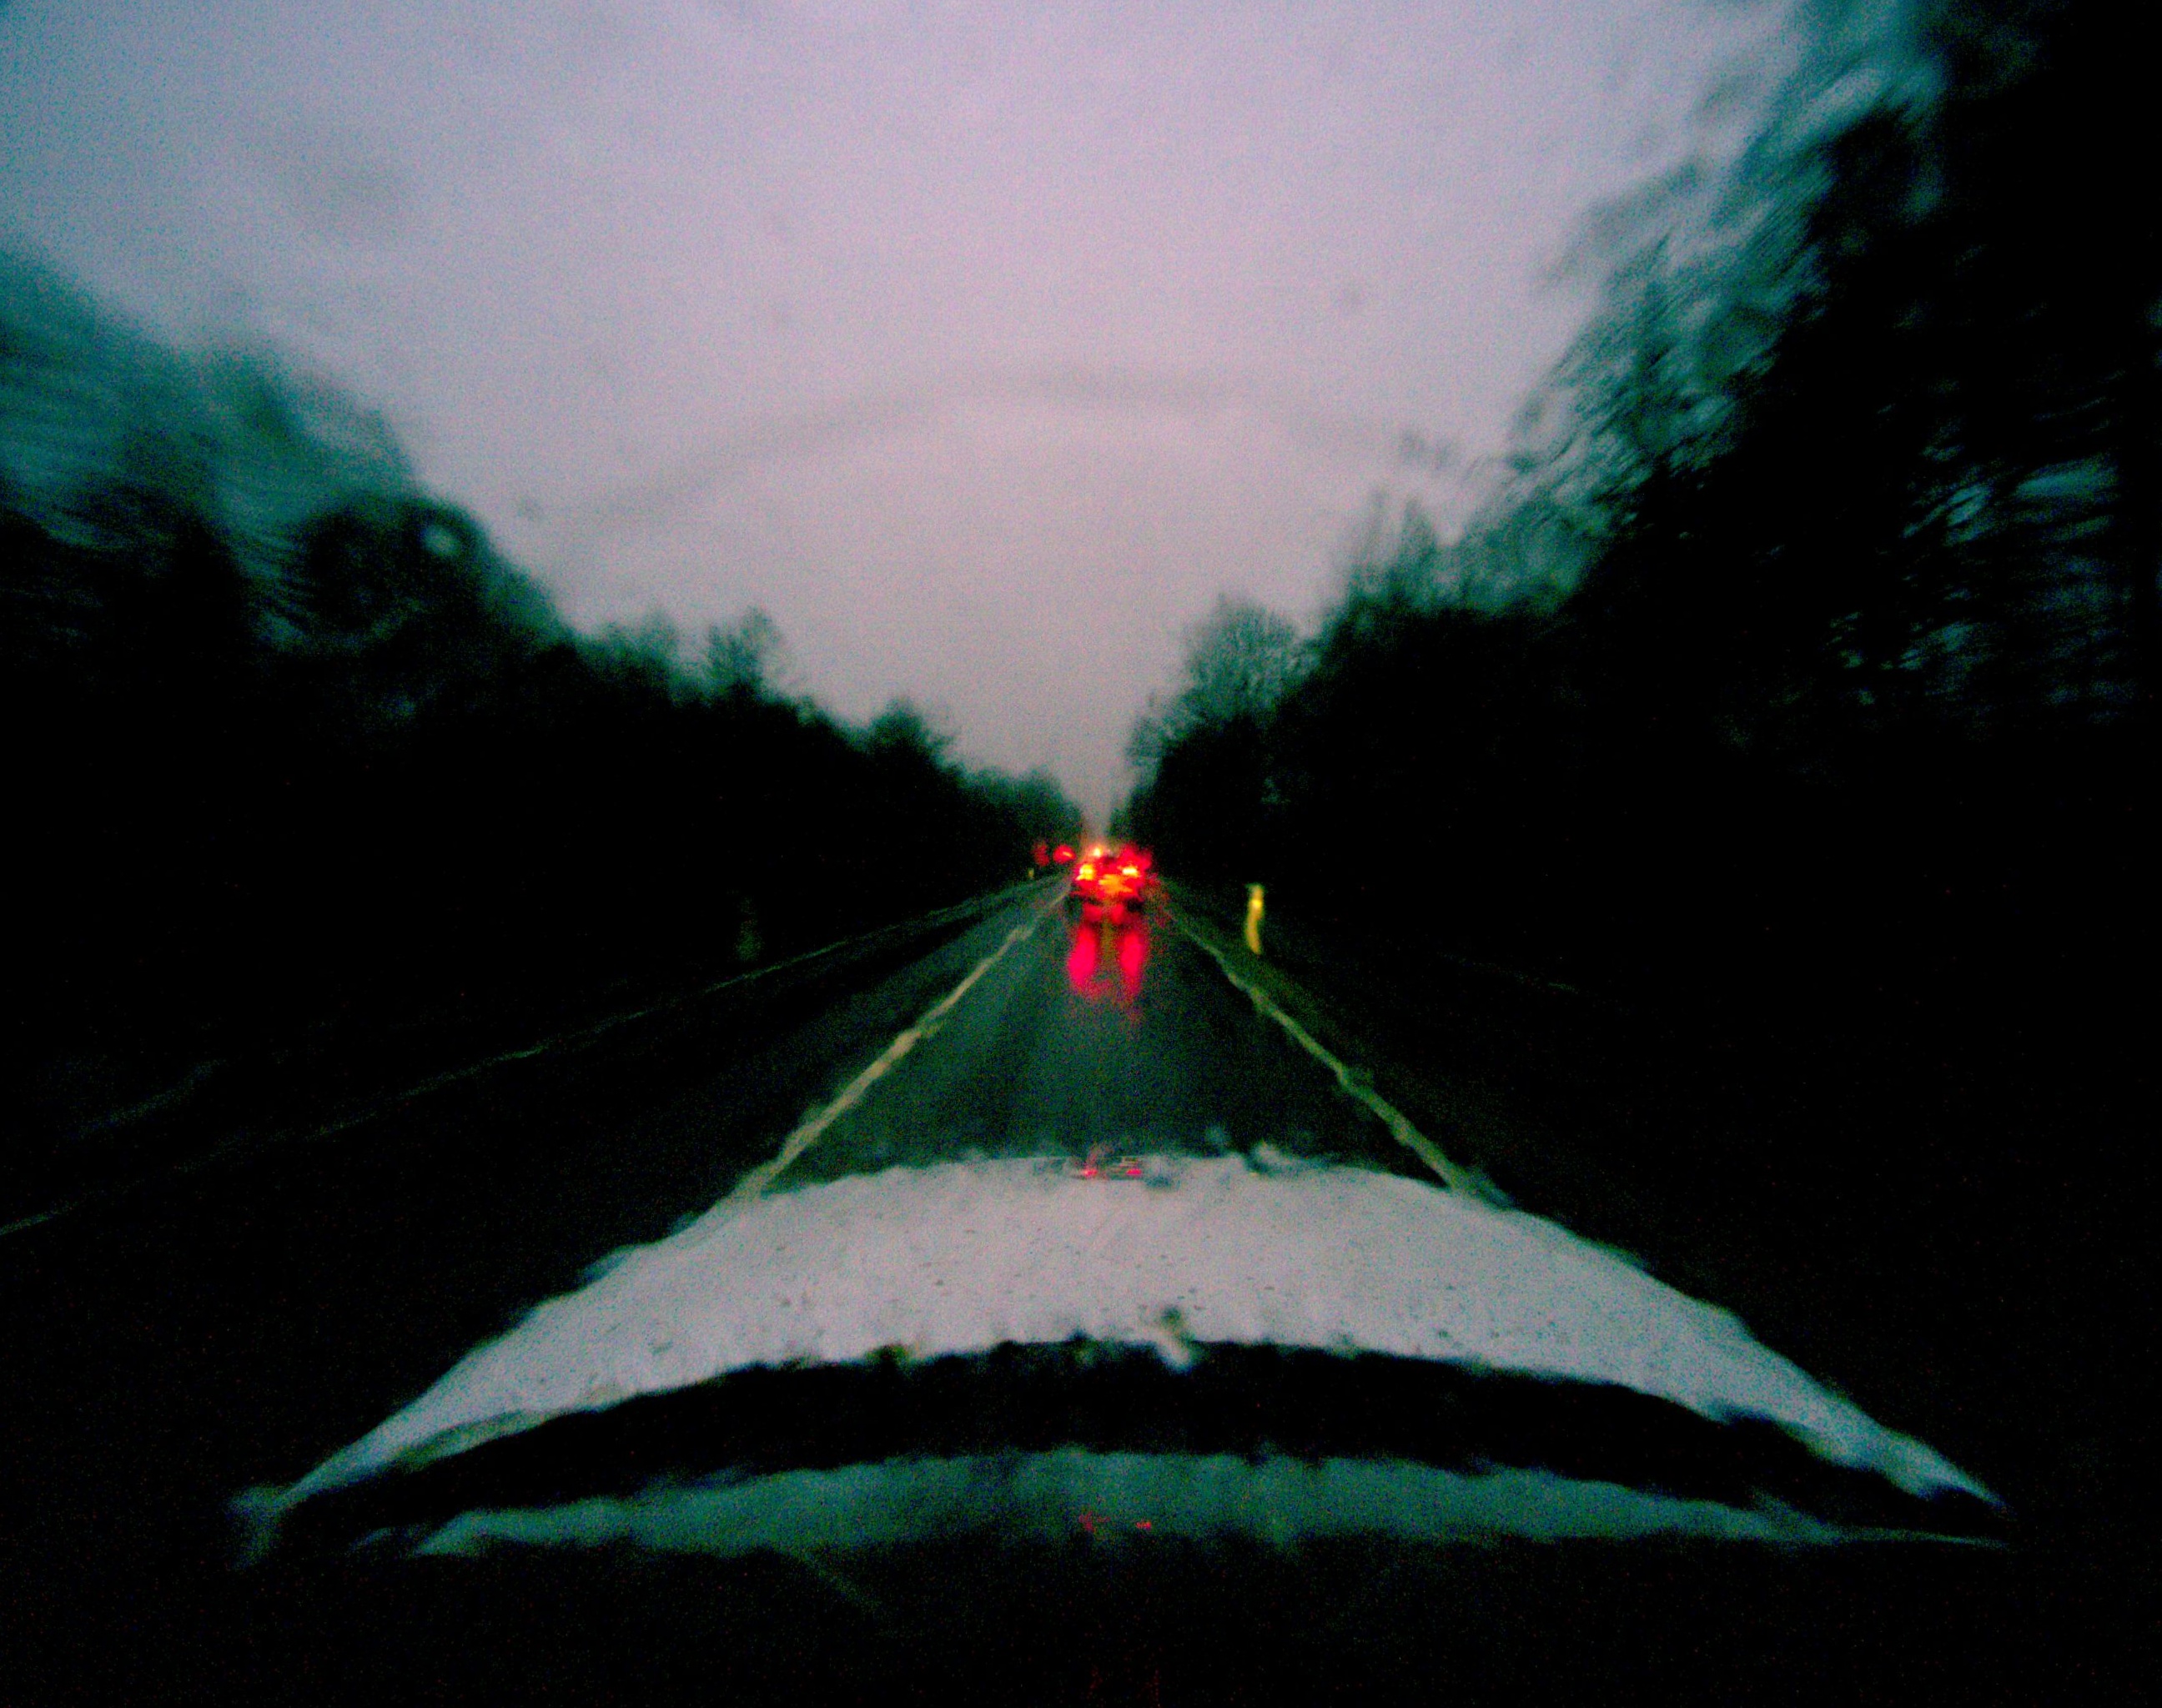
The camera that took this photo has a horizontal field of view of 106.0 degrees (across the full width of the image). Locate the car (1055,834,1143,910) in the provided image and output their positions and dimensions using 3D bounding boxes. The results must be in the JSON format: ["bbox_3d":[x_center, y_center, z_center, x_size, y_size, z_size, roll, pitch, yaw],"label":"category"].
[{"bbox_3d":[0.509,0.437,22.809,2.190,1.877,4.828,0,0,1],"label":"car"}]
